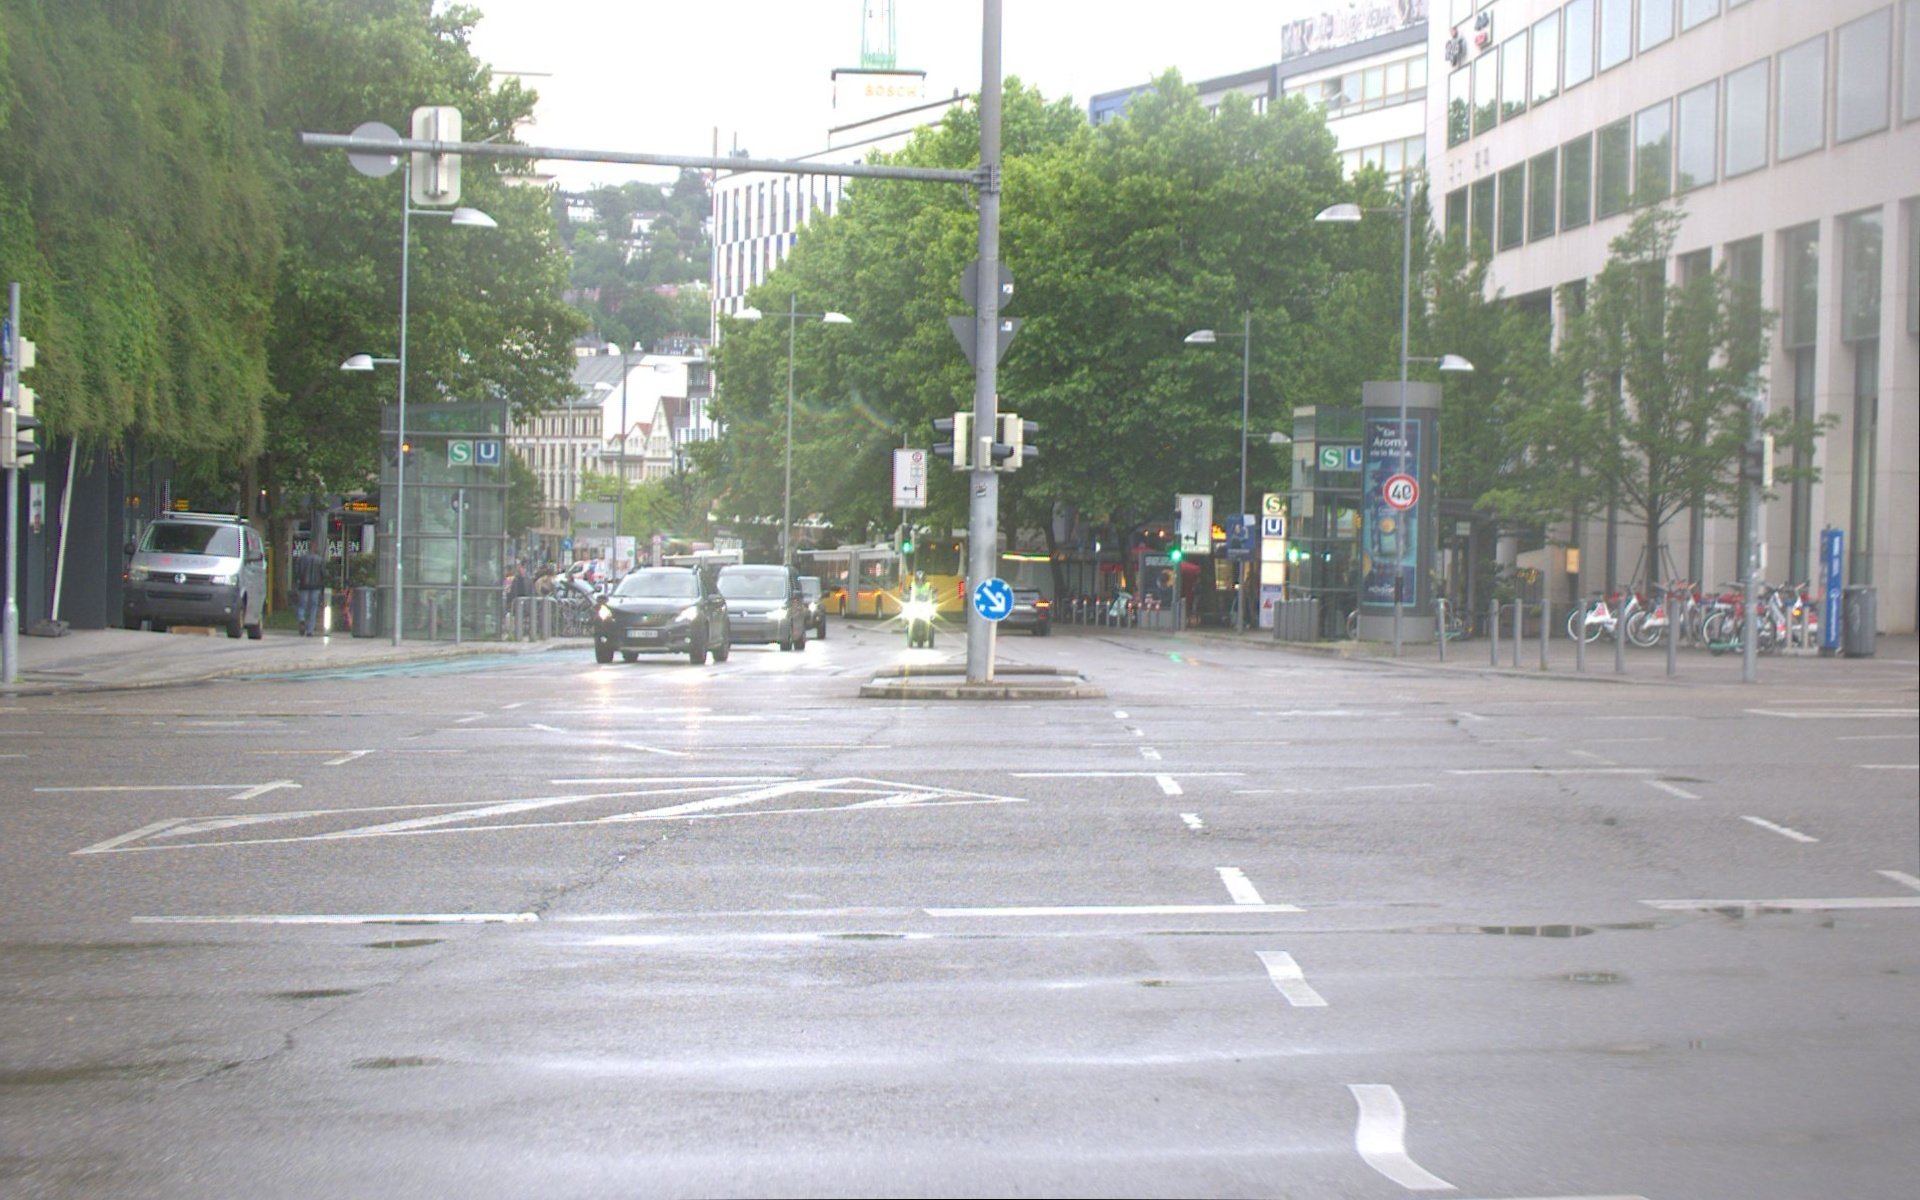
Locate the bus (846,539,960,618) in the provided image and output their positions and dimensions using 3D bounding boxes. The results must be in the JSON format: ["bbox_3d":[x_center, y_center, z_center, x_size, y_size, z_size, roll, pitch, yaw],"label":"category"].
[{"bbox_3d":[-2.261,-0.865,134.135,2.627,2.985,7.451,0,1,-16],"label":"bus"}]

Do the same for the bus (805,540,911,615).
[{"bbox_3d":[-4.251,-0.969,141.288,2.627,2.985,7.451,0,1,-16],"label":"bus"}]

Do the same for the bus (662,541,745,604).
[{"bbox_3d":[-12.616,-1.373,168.558,2.627,2.985,7.451,0,1,-16],"label":"bus"}]

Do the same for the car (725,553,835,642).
[{"bbox_3d":[-3.745,-0.061,71.538,2.164,1.759,5.112,1,0,-3],"label":"car"}]

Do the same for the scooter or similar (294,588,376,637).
[{"bbox_3d":[-12.861,0.251,70.768,0.623,1.001,1.657,1,1,38],"label":"scooter or similar"}]

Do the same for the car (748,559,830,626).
[{"bbox_3d":[-4.731,-0.196,94.795,2.164,1.759,5.112,1,0,-3],"label":"car"}]

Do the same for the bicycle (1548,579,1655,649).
[{"bbox_3d":[11.368,0.245,60.914,1.777,1.190,0.586,1,0,2],"label":"bicycle"}]

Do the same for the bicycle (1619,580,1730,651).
[{"bbox_3d":[12.412,0.267,59.742,1.777,1.190,0.586,1,0,2],"label":"bicycle"}]

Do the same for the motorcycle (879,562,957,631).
[{"bbox_3d":[-0.971,-0.081,78.083,1.551,1.509,4.385,1,0,-3],"label":"motorcycle"}]

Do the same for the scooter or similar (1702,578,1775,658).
[{"bbox_3d":[11.845,0.272,52.297,0.963,1.190,0.454,1,0,40],"label":"scooter or similar"}]

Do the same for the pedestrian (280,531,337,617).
[{"bbox_3d":[-12.702,-0.507,67.015,0.933,1.638,0.774,1,0,0],"label":"pedestrian"}]

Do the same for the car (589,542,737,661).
[{"bbox_3d":[-4.680,0.017,54.889,2.164,1.759,5.112,1,0,-3],"label":"car"}]

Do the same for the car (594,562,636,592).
[{"bbox_3d":[-17.879,-1.167,178.194,1.781,1.503,4.000,1,0,0],"label":"car"}]

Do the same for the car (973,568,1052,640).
[{"bbox_3d":[1.496,0.115,99.620,1.543,2.007,4.669,1,0,-8],"label":"car"}]

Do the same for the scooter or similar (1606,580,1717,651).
[{"bbox_3d":[12.056,0.261,59.120,1.777,1.190,0.586,1,0,2],"label":"scooter or similar"}]

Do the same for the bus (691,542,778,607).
[{"bbox_3d":[-10.625,-1.235,161.455,2.627,2.985,7.330,0,1,-16],"label":"bus"}]

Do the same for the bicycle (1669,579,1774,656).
[{"bbox_3d":[12.063,0.271,54.533,0.584,1.190,1.783,1,0,-28],"label":"bicycle"}]

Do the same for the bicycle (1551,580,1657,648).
[{"bbox_3d":[11.519,0.246,61.548,1.777,1.190,0.586,1,0,2],"label":"bicycle"}]

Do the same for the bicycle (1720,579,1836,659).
[{"bbox_3d":[12.601,0.285,52.979,1.624,1.190,0.586,1,0,26],"label":"bicycle"}]

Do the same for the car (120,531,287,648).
[{"bbox_3d":[-12.399,-0.171,56.552,1.870,1.833,4.000,1,0,0],"label":"car"}]

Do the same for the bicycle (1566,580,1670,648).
[{"bbox_3d":[11.950,0.252,62.464,1.777,1.190,0.586,1,0,2],"label":"bicycle"}]

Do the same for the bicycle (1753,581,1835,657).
[{"bbox_3d":[13.368,0.308,55.086,0.586,1.190,1.779,1,0,38],"label":"bicycle"}]
